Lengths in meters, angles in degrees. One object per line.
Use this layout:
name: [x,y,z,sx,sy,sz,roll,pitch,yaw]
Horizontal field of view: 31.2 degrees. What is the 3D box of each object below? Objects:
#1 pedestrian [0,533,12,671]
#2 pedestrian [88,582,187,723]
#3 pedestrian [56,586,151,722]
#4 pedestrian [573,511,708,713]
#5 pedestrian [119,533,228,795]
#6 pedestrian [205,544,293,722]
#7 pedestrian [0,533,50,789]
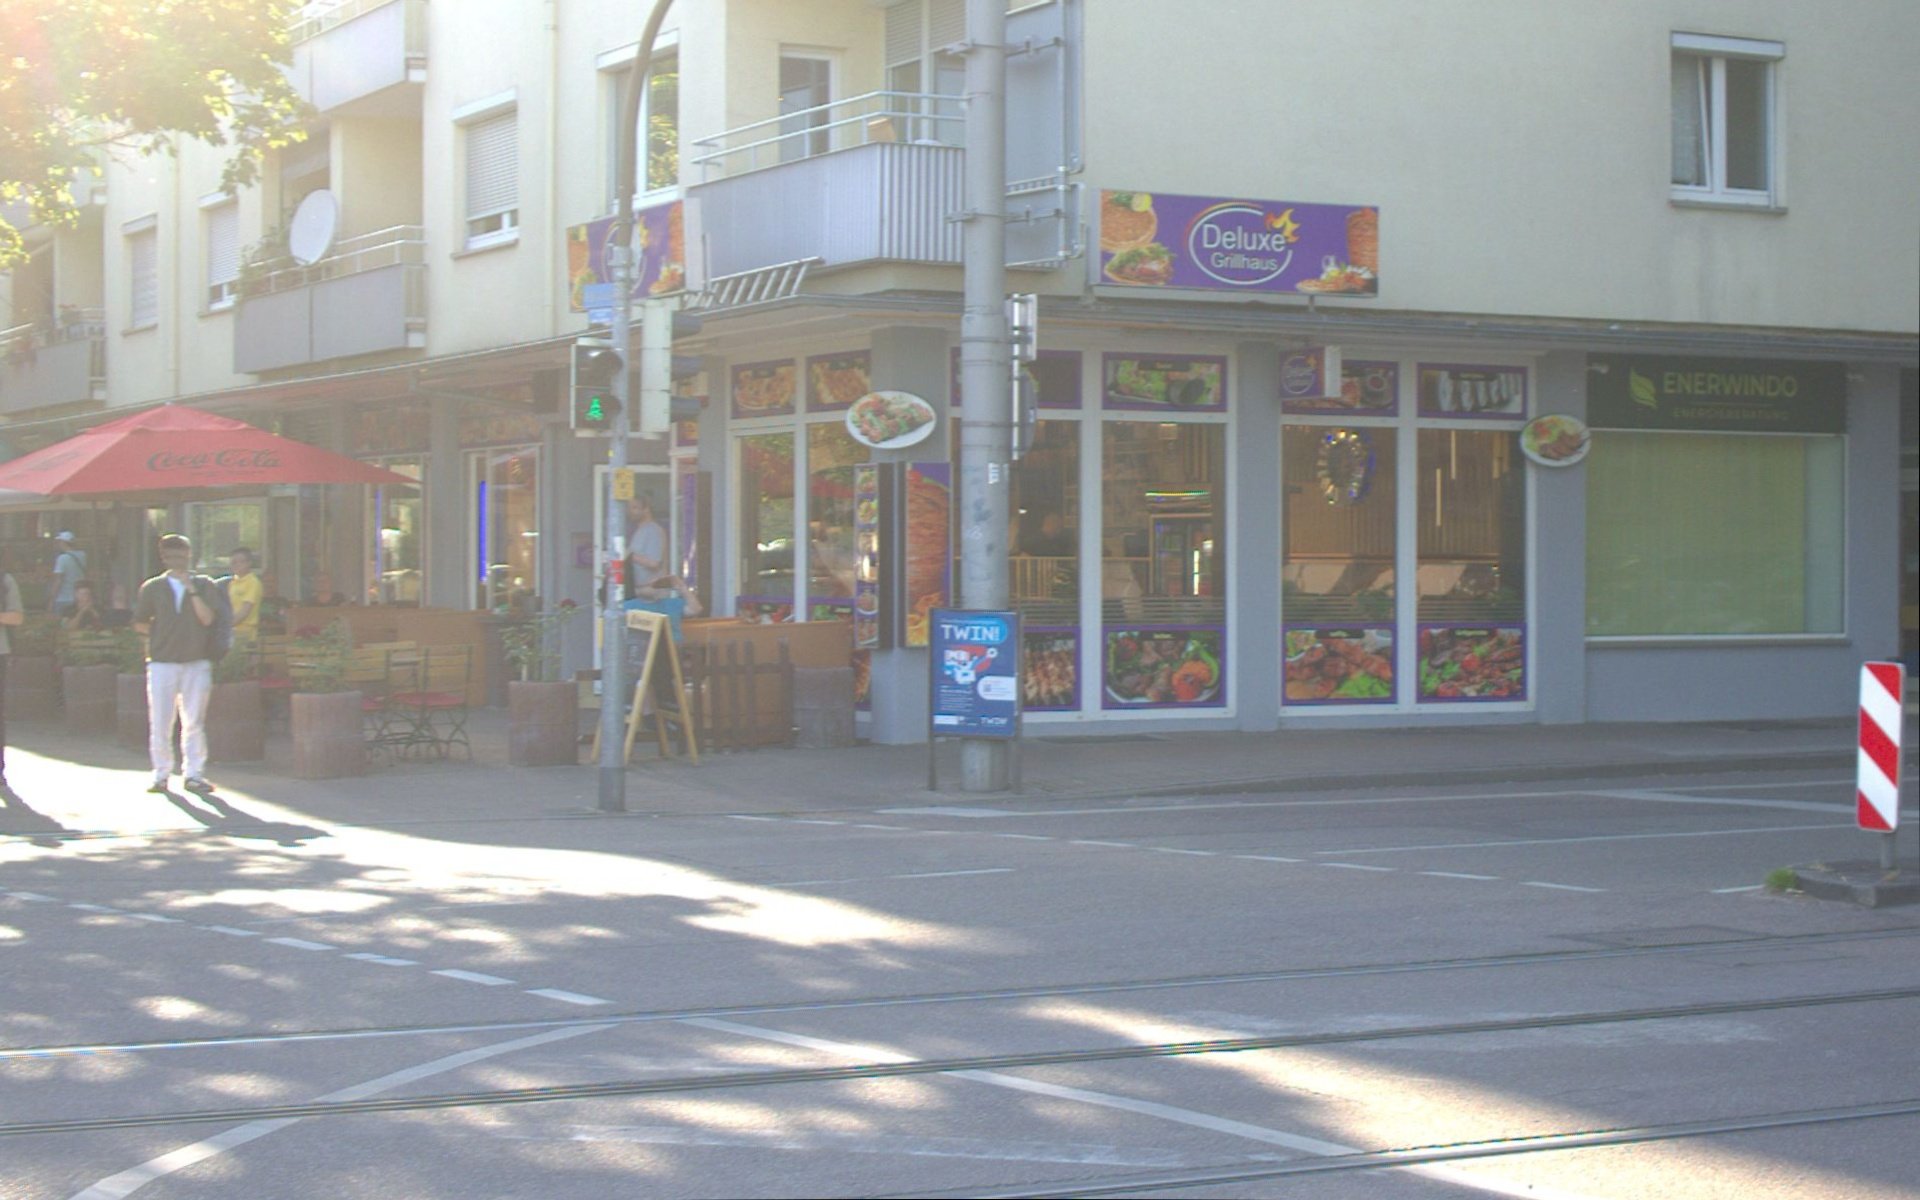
pedestrian: [-14.181,0.029,50.154,0.536,2.007,0.511,0,0,-35]
pedestrian: [-8.113,0.506,33.904,0.811,1.358,0.914,0,0,-22]
pedestrian: [-8.745,0.538,35.075,0.811,1.358,0.914,0,0,-22]
pedestrian: [-2.847,0.101,30.633,0.911,1.765,0.814,0,1,-35]
pedestrian: [-5.343,0.421,23.325,0.691,1.744,0.840,0,0,-15]
pedestrian: [-6.442,0.290,31.142,0.617,1.586,0.478,0,1,-44]
pedestrian: [-6.745,0.410,23.775,0.691,1.744,0.795,0,0,-30]
